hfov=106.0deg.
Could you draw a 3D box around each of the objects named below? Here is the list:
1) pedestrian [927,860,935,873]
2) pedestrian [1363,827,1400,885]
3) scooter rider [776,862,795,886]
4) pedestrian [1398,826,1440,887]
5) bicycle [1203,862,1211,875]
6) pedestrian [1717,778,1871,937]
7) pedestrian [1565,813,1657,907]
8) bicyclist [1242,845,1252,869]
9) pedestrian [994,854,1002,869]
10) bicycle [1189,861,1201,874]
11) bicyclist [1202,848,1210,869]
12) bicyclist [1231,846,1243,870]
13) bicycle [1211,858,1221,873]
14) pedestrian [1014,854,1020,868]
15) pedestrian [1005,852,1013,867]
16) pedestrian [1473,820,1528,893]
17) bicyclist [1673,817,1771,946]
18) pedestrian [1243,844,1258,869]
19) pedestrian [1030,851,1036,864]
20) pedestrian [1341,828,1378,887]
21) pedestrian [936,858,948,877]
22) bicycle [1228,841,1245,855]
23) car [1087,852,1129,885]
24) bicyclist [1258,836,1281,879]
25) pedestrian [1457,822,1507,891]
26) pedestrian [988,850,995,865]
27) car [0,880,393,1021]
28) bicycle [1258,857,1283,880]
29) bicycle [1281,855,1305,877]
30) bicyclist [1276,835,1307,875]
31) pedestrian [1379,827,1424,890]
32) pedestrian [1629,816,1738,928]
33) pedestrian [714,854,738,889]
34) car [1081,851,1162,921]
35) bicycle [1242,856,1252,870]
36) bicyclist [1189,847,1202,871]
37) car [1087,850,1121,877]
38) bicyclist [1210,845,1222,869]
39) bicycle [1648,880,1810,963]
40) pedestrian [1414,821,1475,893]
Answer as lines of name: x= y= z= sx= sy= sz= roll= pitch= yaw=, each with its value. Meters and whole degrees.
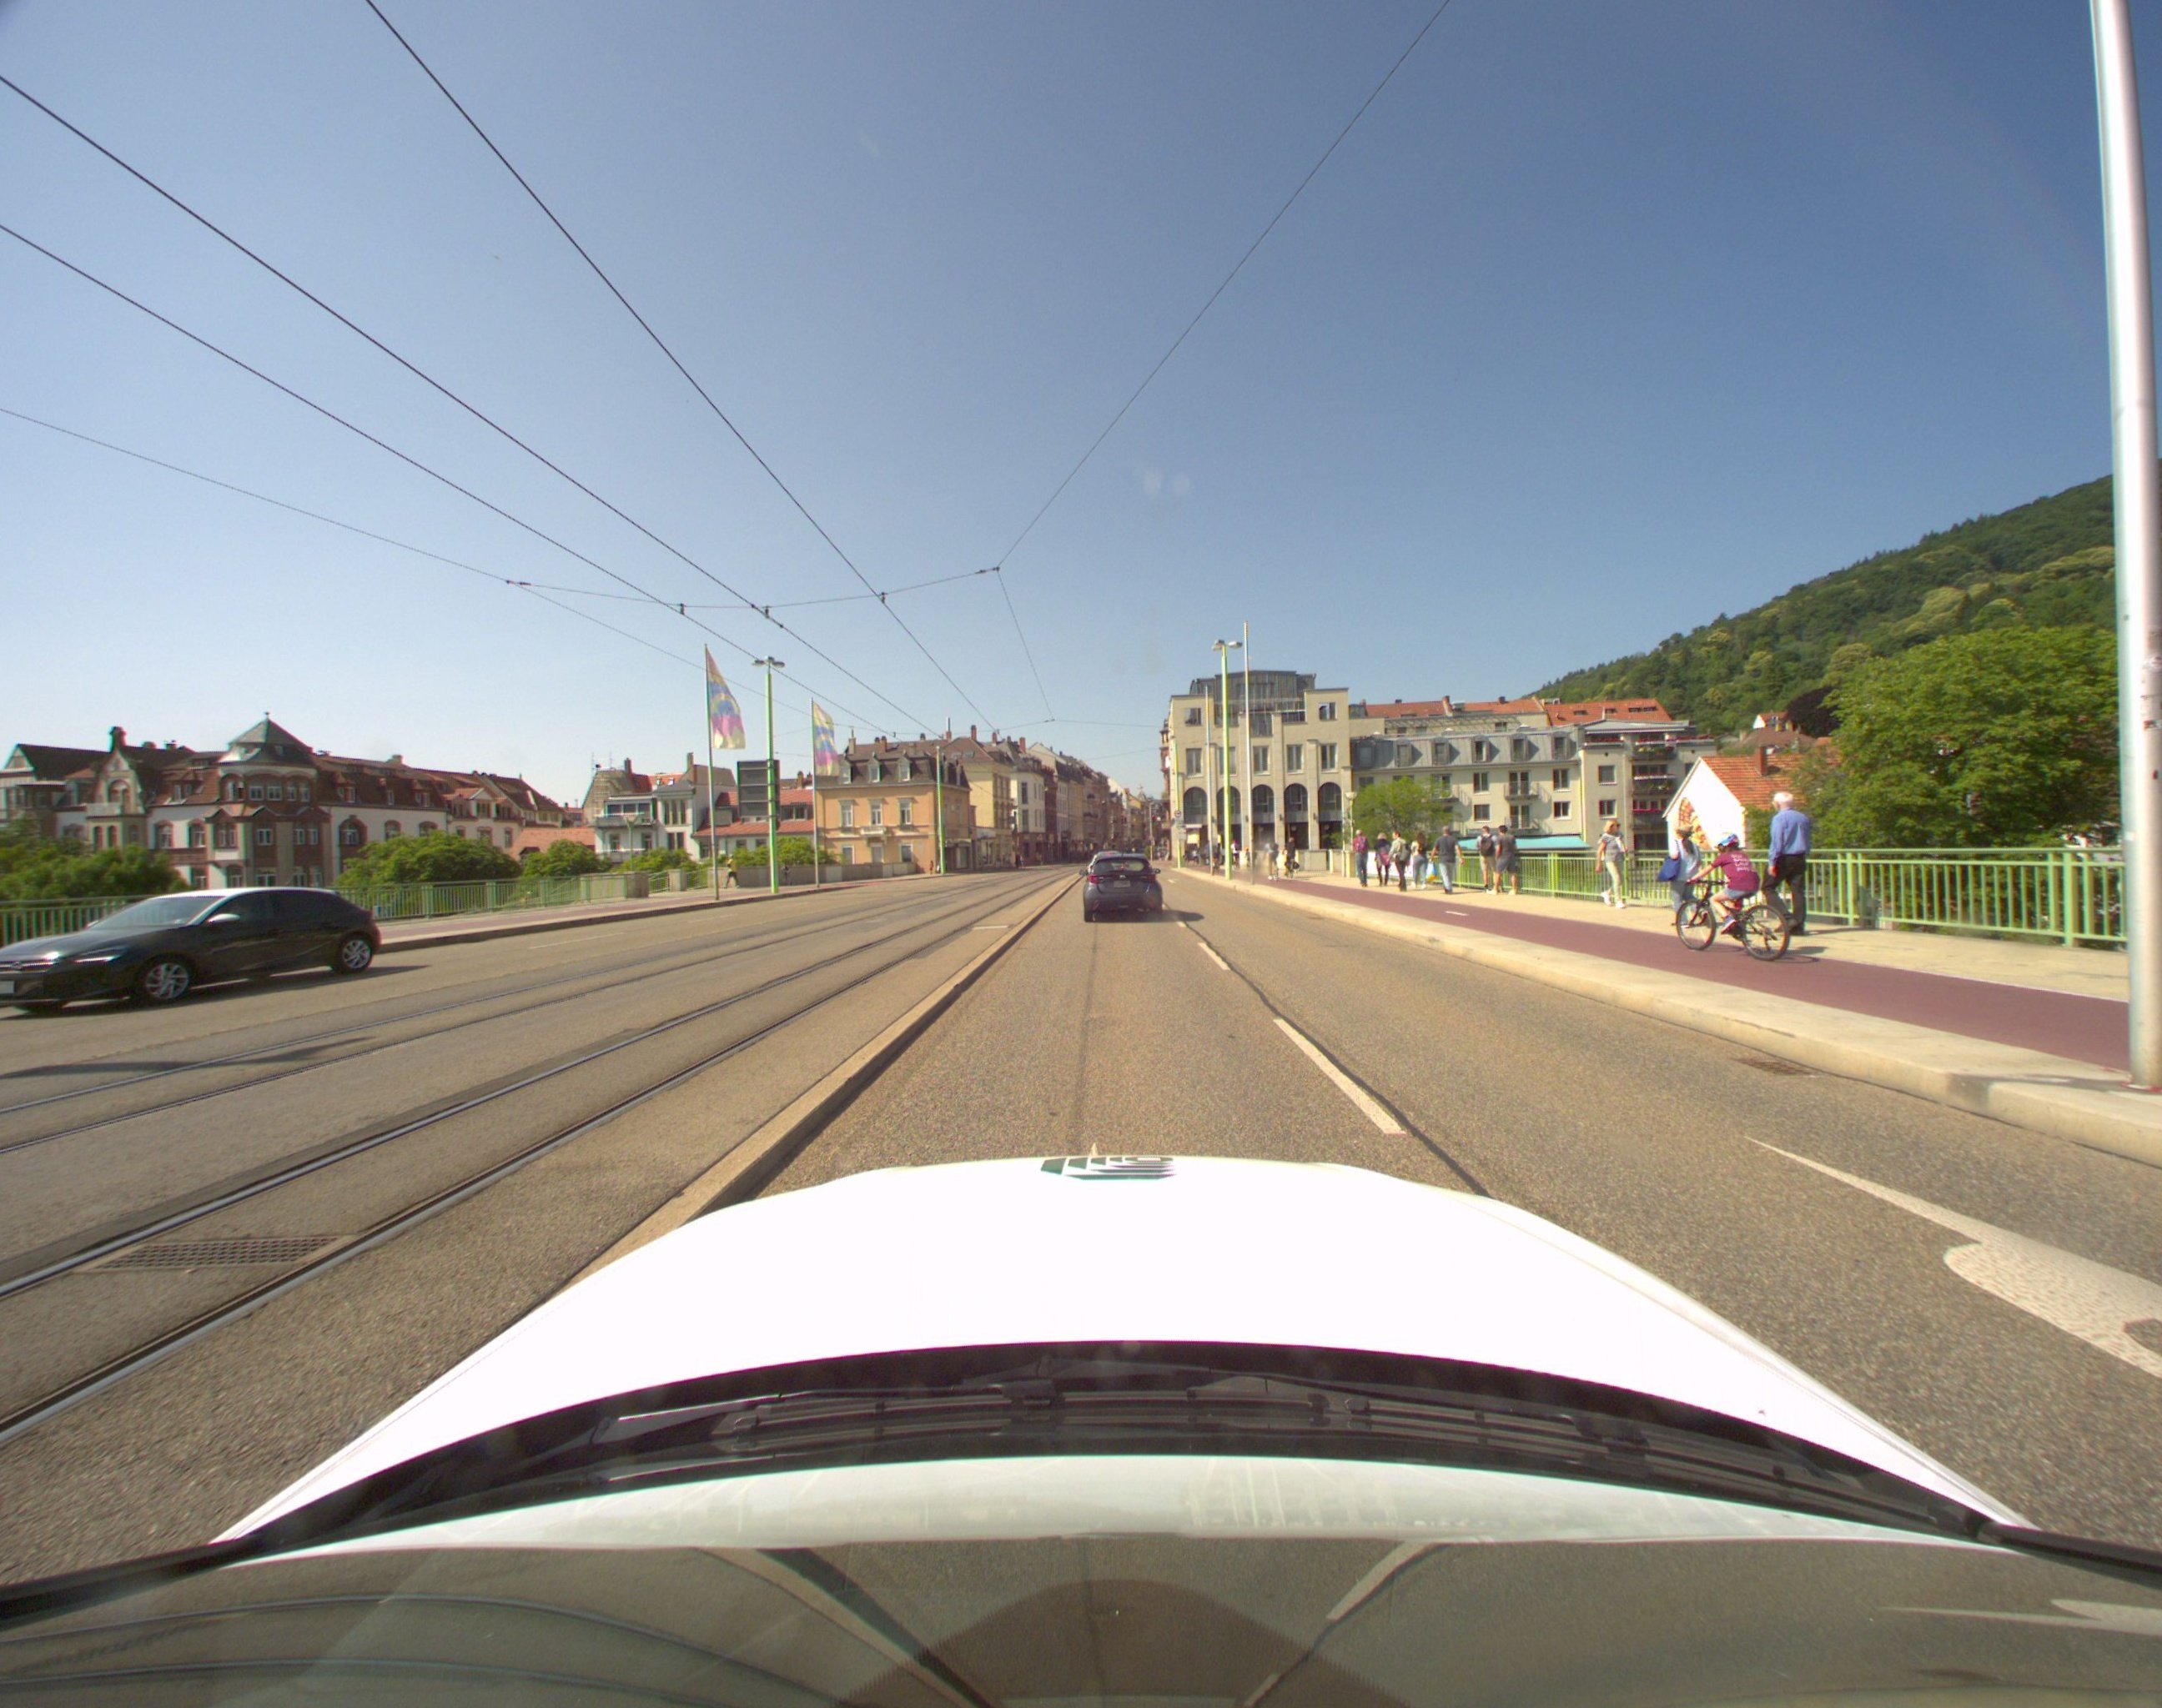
pedestrian: x=-12.965 y=1.060 z=70.323 sx=0.409 sy=1.146 sz=0.546 roll=2 pitch=0 yaw=10
pedestrian: x=9.664 y=0.061 z=26.230 sx=0.736 sy=1.777 sz=1.016 roll=-3 pitch=0 yaw=1
scooter rider: x=-16.942 y=1.135 z=46.630 sx=0.763 sy=1.315 sz=0.600 roll=2 pitch=0 yaw=13
pedestrian: x=9.998 y=0.073 z=24.136 sx=0.736 sy=1.746 sz=1.016 roll=-3 pitch=0 yaw=1
bicycle: x=7.803 y=0.905 z=50.500 sx=0.414 sy=0.765 sz=0.963 roll=-3 pitch=0 yaw=5
pedestrian: x=9.151 y=0.043 z=10.515 sx=0.922 sy=1.897 sz=1.137 roll=-3 pitch=0 yaw=1
pedestrian: x=9.987 y=0.105 z=15.393 sx=0.944 sy=1.662 sz=1.083 roll=-3 pitch=0 yaw=1
bicyclist: x=9.787 y=0.177 z=48.055 sx=0.420 sy=1.383 sz=0.444 roll=-4 pitch=0 yaw=2
pedestrian: x=-9.091 y=0.808 z=89.207 sx=0.646 sy=1.602 sz=0.566 roll=2 pitch=2 yaw=2
bicycle: x=12.802 y=1.491 z=91.640 sx=1.107 sy=1.420 sz=3.010 roll=1 pitch=0 yaw=3
bicyclist: x=7.769 y=0.261 z=50.554 sx=0.420 sy=1.256 sz=0.444 roll=-4 pitch=0 yaw=5
bicyclist: x=9.690 y=0.255 z=50.474 sx=0.487 sy=1.466 sz=0.438 roll=-3 pitch=0 yaw=-37
bicycle: x=7.751 y=0.658 z=46.757 sx=0.414 sy=0.765 sz=1.207 roll=-3 pitch=0 yaw=6
pedestrian: x=-7.612 y=0.814 z=97.031 sx=0.646 sy=1.602 sz=0.566 roll=2 pitch=2 yaw=2
pedestrian: x=-8.302 y=0.628 z=94.049 sx=0.733 sy=1.766 sz=0.787 roll=3 pitch=0 yaw=2
pedestrian: x=10.278 y=0.055 z=19.979 sx=0.736 sy=1.718 sz=1.016 roll=-3 pitch=0 yaw=1
bicyclist: x=7.206 y=0.298 z=9.181 sx=0.532 sy=1.383 sz=0.669 roll=-2 pitch=0 yaw=2
pedestrian: x=11.131 y=0.152 z=53.392 sx=0.736 sy=1.615 sz=1.016 roll=3 pitch=0 yaw=1
pedestrian: x=-6.576 y=0.533 z=111.740 sx=0.733 sy=1.766 sz=0.787 roll=-2 pitch=1 yaw=2
pedestrian: x=8.858 y=0.108 z=25.917 sx=0.736 sy=1.802 sz=1.016 roll=-3 pitch=0 yaw=1
pedestrian: x=-11.979 y=1.169 z=70.214 sx=0.758 sy=1.654 sz=0.713 roll=2 pitch=0 yaw=7
bicycle: x=9.635 y=-0.368 z=50.499 sx=0.420 sy=0.765 sz=0.951 roll=-3 pitch=0 yaw=-37
car: x=1.304 y=0.657 z=39.527 sx=1.890 sy=1.530 sz=4.002 roll=0 pitch=0 yaw=2
bicyclist: x=7.714 y=0.126 z=33.314 sx=0.699 sy=1.695 sz=0.925 roll=-3 pitch=0 yaw=2
pedestrian: x=10.322 y=0.068 z=21.007 sx=0.736 sy=1.718 sz=1.016 roll=-3 pitch=0 yaw=1
pedestrian: x=-10.108 y=0.414 z=91.697 sx=0.646 sy=1.602 sz=0.566 roll=2 pitch=2 yaw=2
car: x=-12.250 y=1.197 z=11.435 sx=1.710 sy=1.454 sz=3.903 roll=-3 pitch=0 yaw=2
bicycle: x=7.740 y=0.597 z=33.251 sx=0.701 sy=0.882 sz=1.526 roll=-3 pitch=0 yaw=3
bicycle: x=9.207 y=0.525 z=35.459 sx=0.793 sy=0.882 sz=1.832 roll=-3 pitch=0 yaw=8
bicyclist: x=9.179 y=0.040 z=35.536 sx=1.133 sy=1.695 sz=0.926 roll=-3 pitch=0 yaw=8
pedestrian: x=9.038 y=0.126 z=23.001 sx=0.752 sy=1.718 sz=1.073 roll=-3 pitch=0 yaw=1
pedestrian: x=8.725 y=0.251 z=11.837 sx=0.826 sy=1.529 sz=0.933 roll=-3 pitch=0 yaw=1
pedestrian: x=-18.325 y=0.890 z=42.034 sx=0.741 sy=1.781 sz=0.803 roll=-3 pitch=0 yaw=7
car: x=0.914 y=0.668 z=19.122 sx=1.713 sy=1.473 sz=3.659 roll=0 pitch=0 yaw=2
bicycle: x=9.800 y=0.537 z=48.022 sx=0.415 sy=0.765 sz=0.962 roll=-3 pitch=0 yaw=2
bicyclist: x=12.874 y=0.556 z=91.704 sx=1.223 sy=2.529 sz=1.105 roll=3 pitch=0 yaw=1
car: x=1.343 y=0.542 z=47.720 sx=1.890 sy=1.530 sz=4.002 roll=0 pitch=0 yaw=2
bicyclist: x=7.735 y=0.167 z=46.739 sx=0.535 sy=1.316 sz=0.673 roll=-4 pitch=0 yaw=5
bicycle: x=7.226 y=0.721 z=9.187 sx=0.512 sy=0.765 sz=1.661 roll=-3 pitch=0 yaw=2
pedestrian: x=9.412 y=0.074 z=21.139 sx=0.974 sy=1.777 sz=1.208 roll=-3 pitch=0 yaw=1
